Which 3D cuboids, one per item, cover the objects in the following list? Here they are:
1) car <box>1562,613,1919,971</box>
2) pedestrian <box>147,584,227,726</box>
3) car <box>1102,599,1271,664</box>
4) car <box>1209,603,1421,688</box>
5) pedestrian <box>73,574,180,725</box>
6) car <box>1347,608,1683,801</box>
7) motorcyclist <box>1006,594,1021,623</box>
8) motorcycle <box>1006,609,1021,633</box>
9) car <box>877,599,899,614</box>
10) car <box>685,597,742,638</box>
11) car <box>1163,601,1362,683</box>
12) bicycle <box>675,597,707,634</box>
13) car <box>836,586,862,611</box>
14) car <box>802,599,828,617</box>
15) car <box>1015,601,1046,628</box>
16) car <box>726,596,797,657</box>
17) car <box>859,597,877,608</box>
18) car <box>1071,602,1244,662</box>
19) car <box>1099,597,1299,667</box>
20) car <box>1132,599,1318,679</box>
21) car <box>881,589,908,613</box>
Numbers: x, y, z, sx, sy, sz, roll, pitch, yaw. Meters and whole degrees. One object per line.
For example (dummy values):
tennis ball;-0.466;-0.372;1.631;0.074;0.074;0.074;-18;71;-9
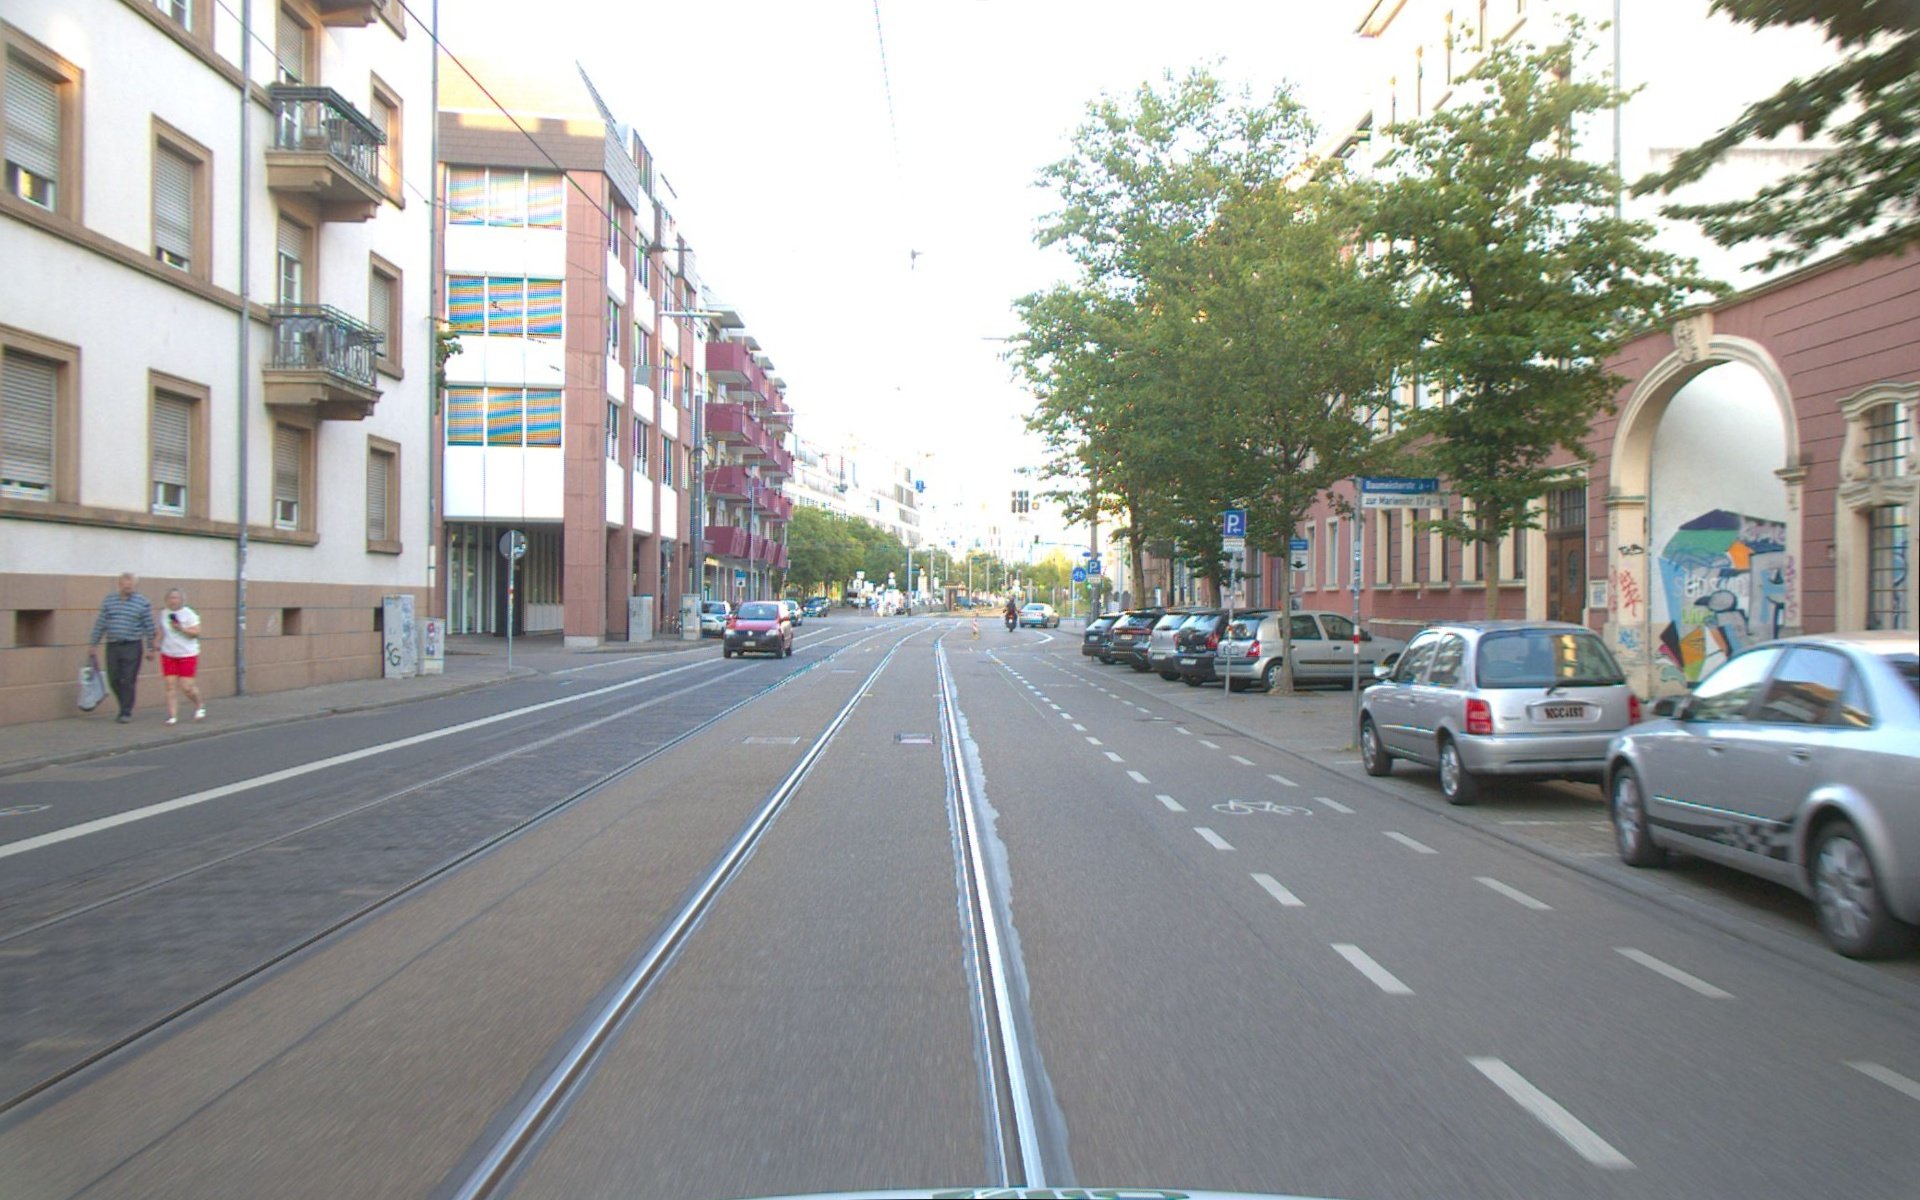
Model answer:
car;4.909;0.820;8.810;1.744;1.405;4.691;-2;0;1
pedestrian;-9.056;0.630;19.406;0.579;1.638;0.811;0;0;-3
car;5.818;0.799;42.444;3.938;1.518;1.816;-1;-1;-26
car;6.388;0.810;29.813;3.431;1.454;1.611;0;-2;-20
pedestrian;-9.750;0.565;19.377;0.779;1.731;0.981;0;0;-3
car;4.680;0.803;14.514;1.586;1.405;3.775;-2;0;-1
motorcyclist;2.849;0.445;88.392;0.811;1.499;1.207;0;0;2
motorcycle;2.847;1.098;88.219;0.811;1.261;2.492;0;0;2
car;-7.445;0.672;171.113;1.647;1.464;4.129;0;0;6
car;-10.154;0.692;68.384;1.682;1.583;4.203;2;0;0
car;5.839;0.777;31.949;3.512;1.454;1.655;-1;0;-27
bicycle;-10.347;0.592;63.694;0.595;1.402;2.260;0;0;7
car;-14.319;-0.159;213.627;2.154;3.207;6.147;0;0;7
car;-14.131;0.728;161.314;1.647;1.729;4.242;0;0;8
car;4.332;0.881;101.669;1.682;1.583;4.203;1;0;0
car;-5.485;0.703;46.116;1.527;1.585;3.754;-1;0;0
car;-12.383;0.336;222.510;1.647;1.528;4.242;0;0;7
car;5.472;0.854;45.730;4.548;1.482;1.696;-2;0;-26
car;5.744;0.732;39.772;4.386;1.543;2.048;-1;0;-24
car;5.557;0.784;34.692;3.512;1.543;1.729;-1;0;-27
car;-6.988;0.059;176.936;2.409;2.526;5.810;0;0;2
